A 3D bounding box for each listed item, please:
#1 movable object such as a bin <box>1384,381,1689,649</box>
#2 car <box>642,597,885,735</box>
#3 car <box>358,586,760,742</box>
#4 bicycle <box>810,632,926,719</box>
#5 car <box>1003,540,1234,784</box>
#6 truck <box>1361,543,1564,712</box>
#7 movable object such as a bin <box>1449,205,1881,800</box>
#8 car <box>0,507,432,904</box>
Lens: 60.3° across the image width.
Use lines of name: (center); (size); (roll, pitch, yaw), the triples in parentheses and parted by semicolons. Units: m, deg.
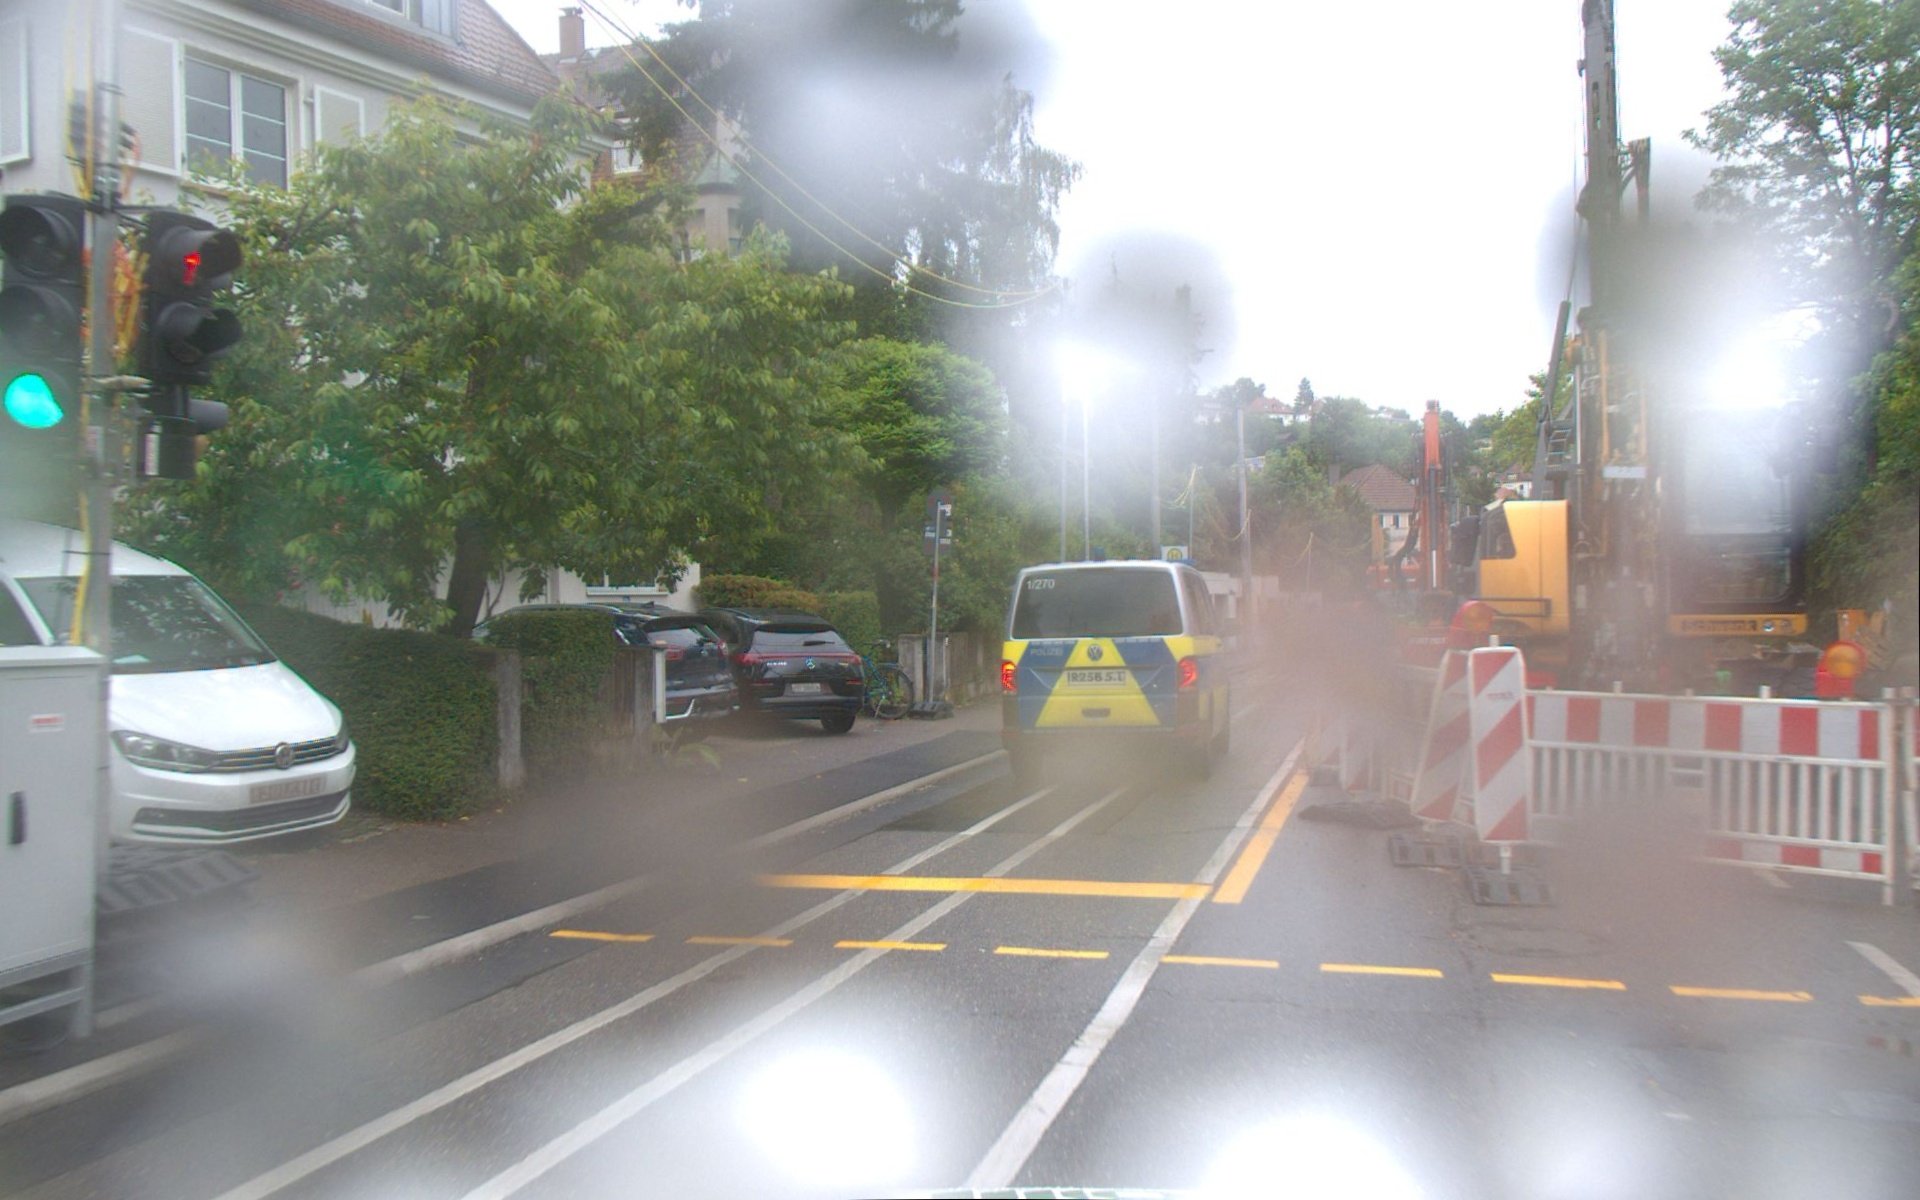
movable object such as a bin: (12.697, -1.623, 36.085); (3.630, 5.155, 7.117); (-3, -2, 43)
car: (-2.563, 0.769, 20.728); (1.760, 1.552, 3.964); (1, -1, -27)
car: (-4.378, 0.660, 18.104); (3.907, 1.552, 1.939); (0, -1, 24)
bicycle: (-1.264, 1.018, 22.595); (1.587, 1.151, 0.442); (0, -2, 29)
car: (1.698, 0.562, 16.231); (1.867, 2.046, 4.443); (0, -1, 10)
truck: (7.015, 0.414, 23.401); (2.496, 2.145, 3.306); (-2, -2, 14)
movable object such as a bin: (5.829, -0.669, 14.360); (2.818, 4.244, 4.489); (-2, 0, 18)
car: (-6.086, 0.445, 10.961); (4.872, 1.643, 1.862); (11, 5, 25)
